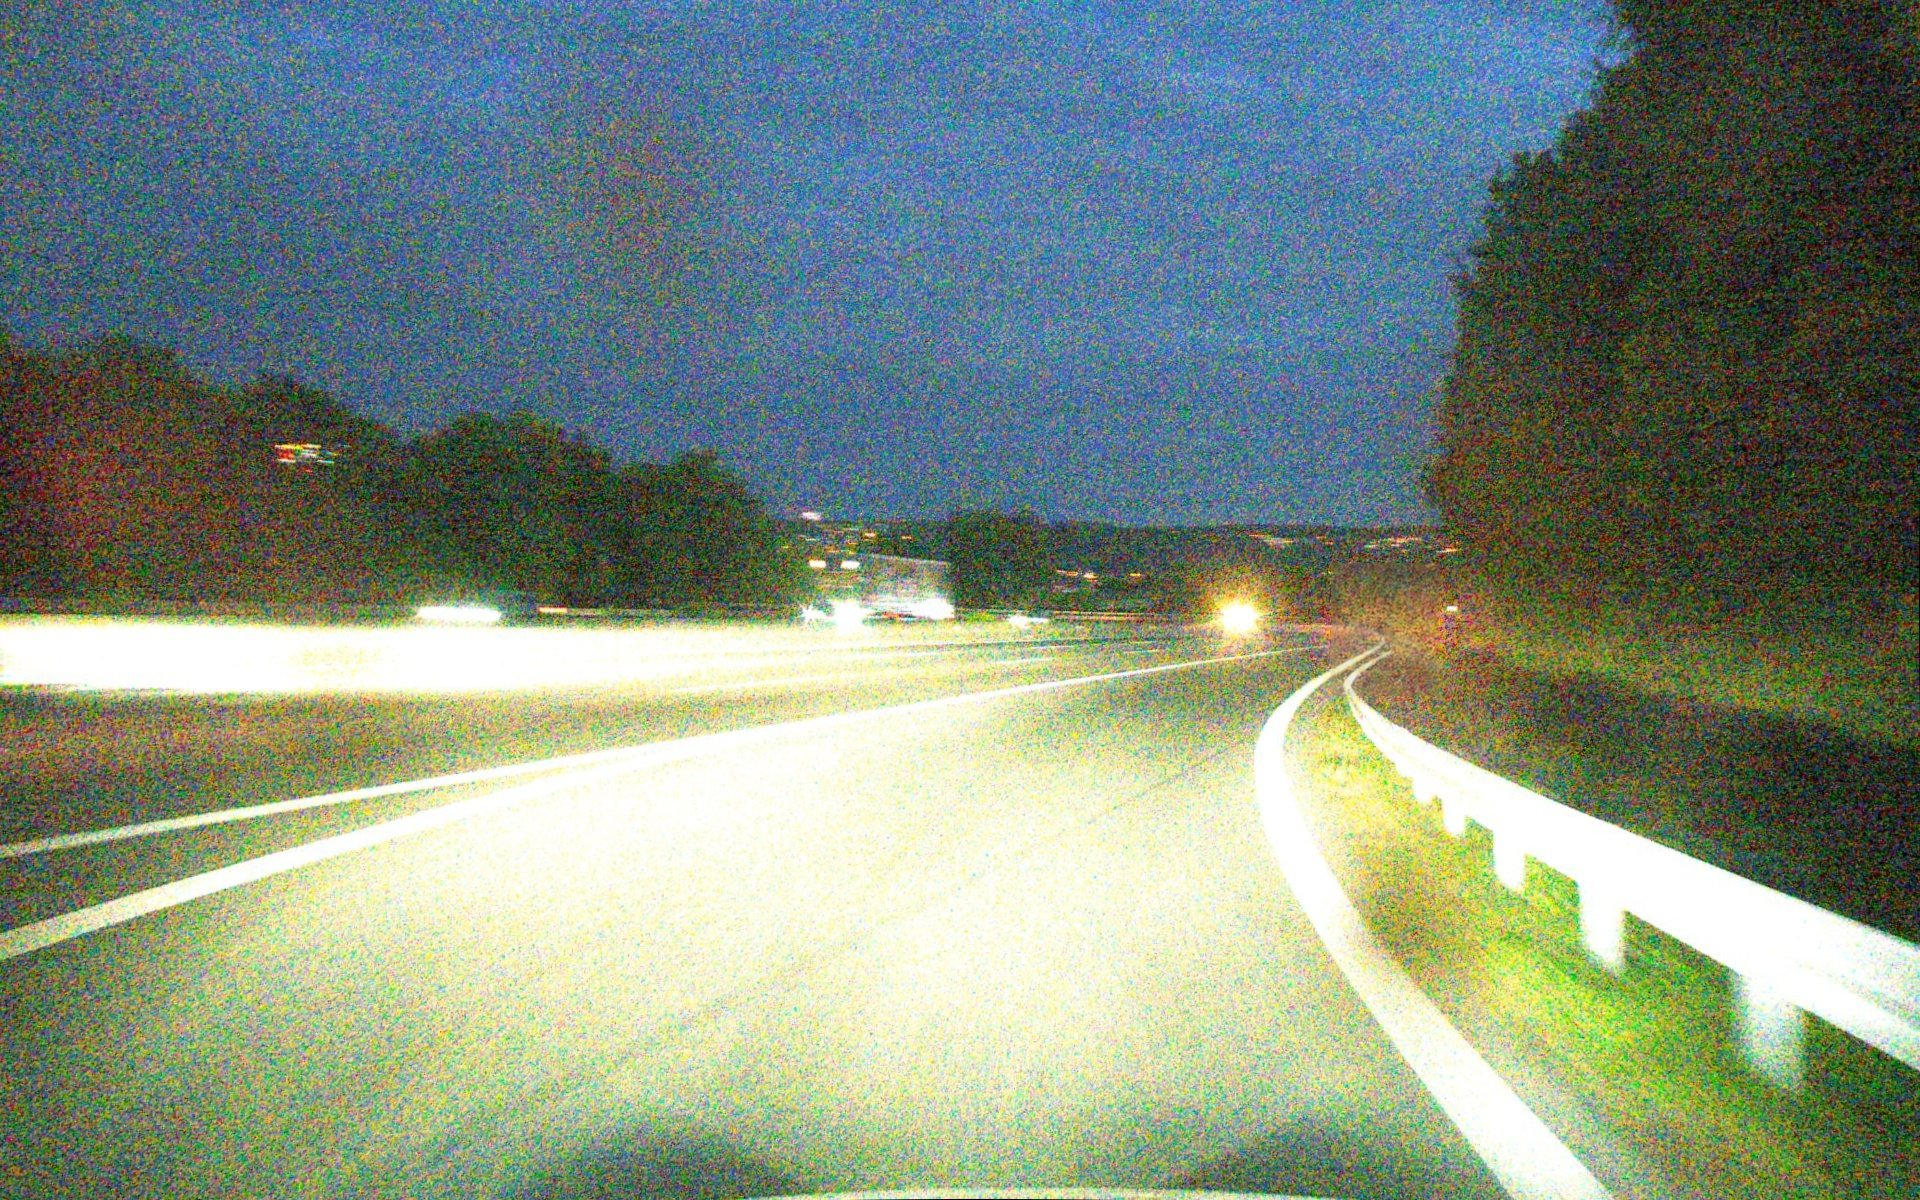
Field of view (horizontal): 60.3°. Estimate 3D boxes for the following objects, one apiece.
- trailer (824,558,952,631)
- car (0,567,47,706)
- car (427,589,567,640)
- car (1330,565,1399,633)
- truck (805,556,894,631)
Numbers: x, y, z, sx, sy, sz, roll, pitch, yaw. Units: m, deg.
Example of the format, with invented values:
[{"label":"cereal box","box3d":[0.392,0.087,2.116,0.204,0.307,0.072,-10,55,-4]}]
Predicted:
[{"label":"trailer","box3d":[-3.963,-0.195,96.411,2.701,3.867,13.765,2,0,18]},{"label":"car","box3d":[-11.120,0.319,15.617,1.571,1.425,4.504,2,0,17]},{"label":"car","box3d":[-14.145,0.456,50.786,1.952,1.449,4.371,2,0,19]},{"label":"car","box3d":[33.658,-0.018,137.521,5.170,5.181,12.483,2,0,14]},{"label":"truck","box3d":[-5.960,-0.317,90.093,2.701,3.867,5.965,2,0,18]}]
